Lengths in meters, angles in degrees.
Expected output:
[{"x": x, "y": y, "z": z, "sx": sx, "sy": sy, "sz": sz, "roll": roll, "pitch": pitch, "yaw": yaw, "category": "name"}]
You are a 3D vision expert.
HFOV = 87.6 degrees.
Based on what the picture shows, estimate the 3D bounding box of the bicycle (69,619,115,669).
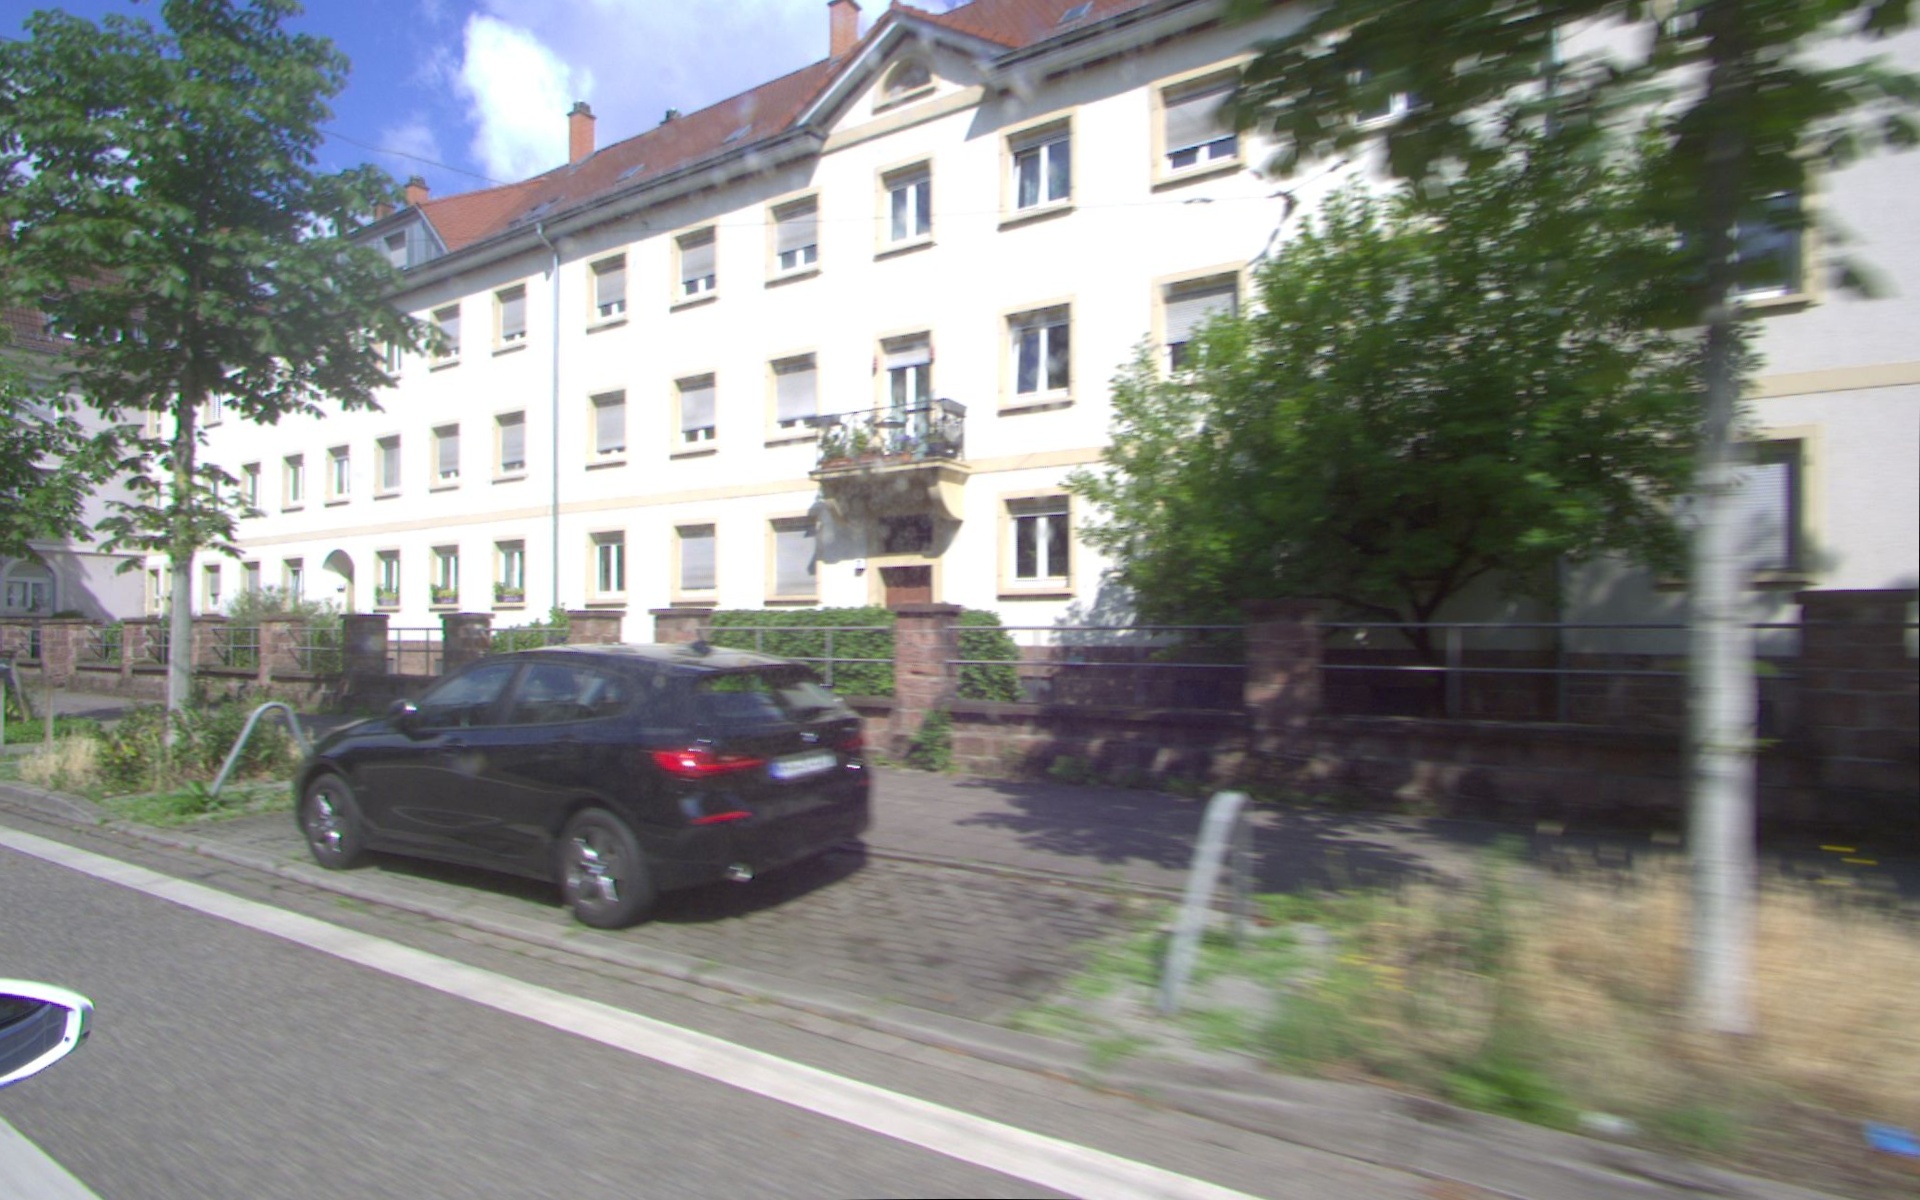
[{"x": -21.656, "y": 1.082, "z": 24.970, "sx": 1.680, "sy": 1.227, "sz": 0.411, "roll": -1, "pitch": -1, "yaw": 33, "category": "bicycle"}]

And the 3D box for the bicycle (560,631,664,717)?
[{"x": -5.310, "y": 1.095, "z": 15.241, "sx": 1.680, "sy": 1.227, "sz": 0.598, "roll": -1, "pitch": -1, "yaw": 33, "category": "bicycle"}]

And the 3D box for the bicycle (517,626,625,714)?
[{"x": -5.703, "y": 0.989, "z": 14.655, "sx": 1.680, "sy": 1.227, "sz": 0.598, "roll": -1, "pitch": -1, "yaw": 33, "category": "bicycle"}]

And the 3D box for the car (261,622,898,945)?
[{"x": -2.586, "y": 0.945, "z": 6.510, "sx": 4.137, "sy": 1.497, "sz": 1.704, "roll": -1, "pitch": -4, "yaw": 32, "category": "car"}]

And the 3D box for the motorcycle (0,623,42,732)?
[{"x": -15.308, "y": 1.116, "z": 14.862, "sx": 2.347, "sy": 1.617, "sz": 0.677, "roll": 3, "pitch": -2, "yaw": -19, "category": "motorcycle"}]
